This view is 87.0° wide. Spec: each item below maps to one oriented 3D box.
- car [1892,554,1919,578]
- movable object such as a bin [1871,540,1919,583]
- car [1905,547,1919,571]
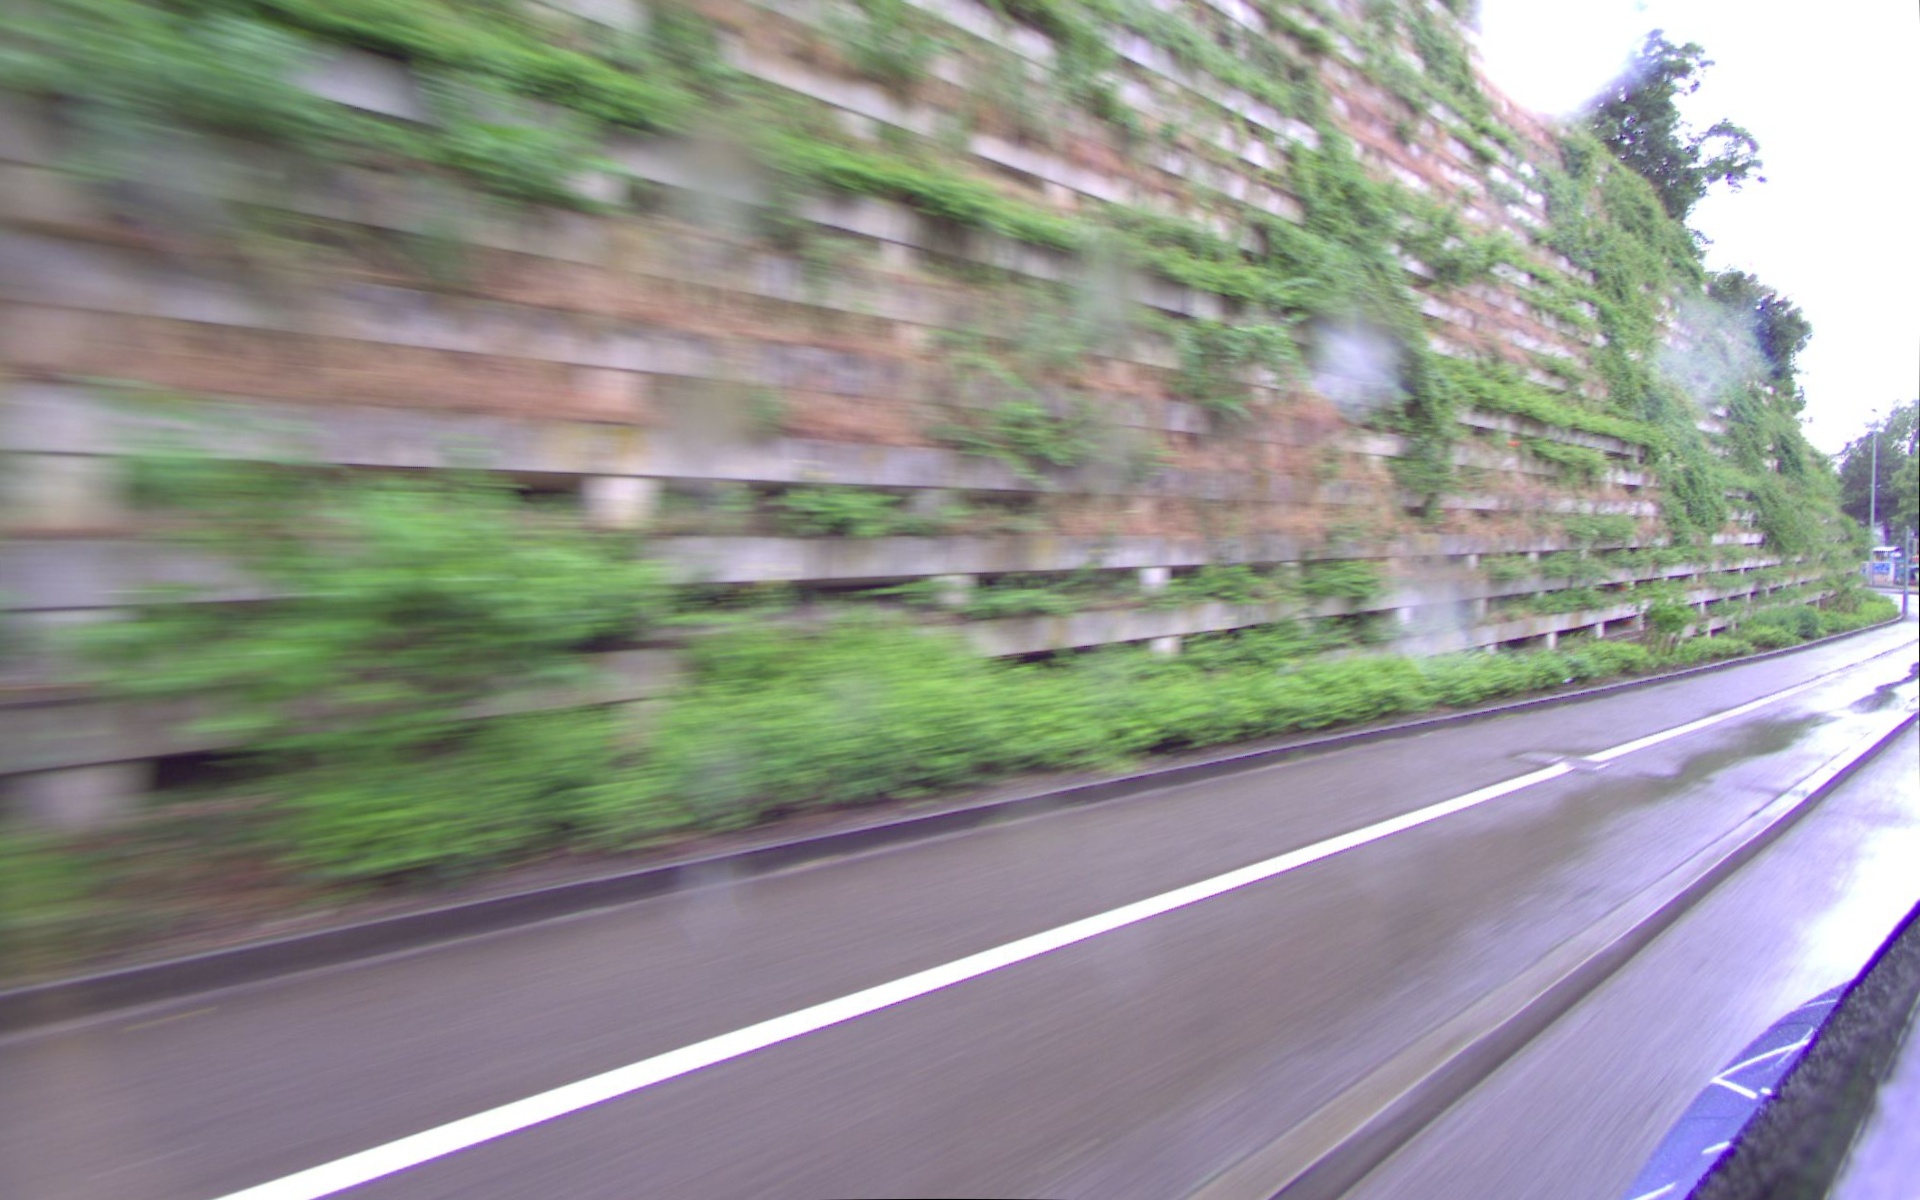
[{"bbox_3d":[66.508,-2.239,69.095,1.641,1.592,3.998,-2,7,-41],"label":"car"},{"bbox_3d":[62.242,-2.476,65.429,2.277,2.718,5.683,4,4,13],"label":"movable object such as a bin"},{"bbox_3d":[75.515,-2.978,77.403,1.888,1.786,4.389,-2,7,-40],"label":"car"}]
